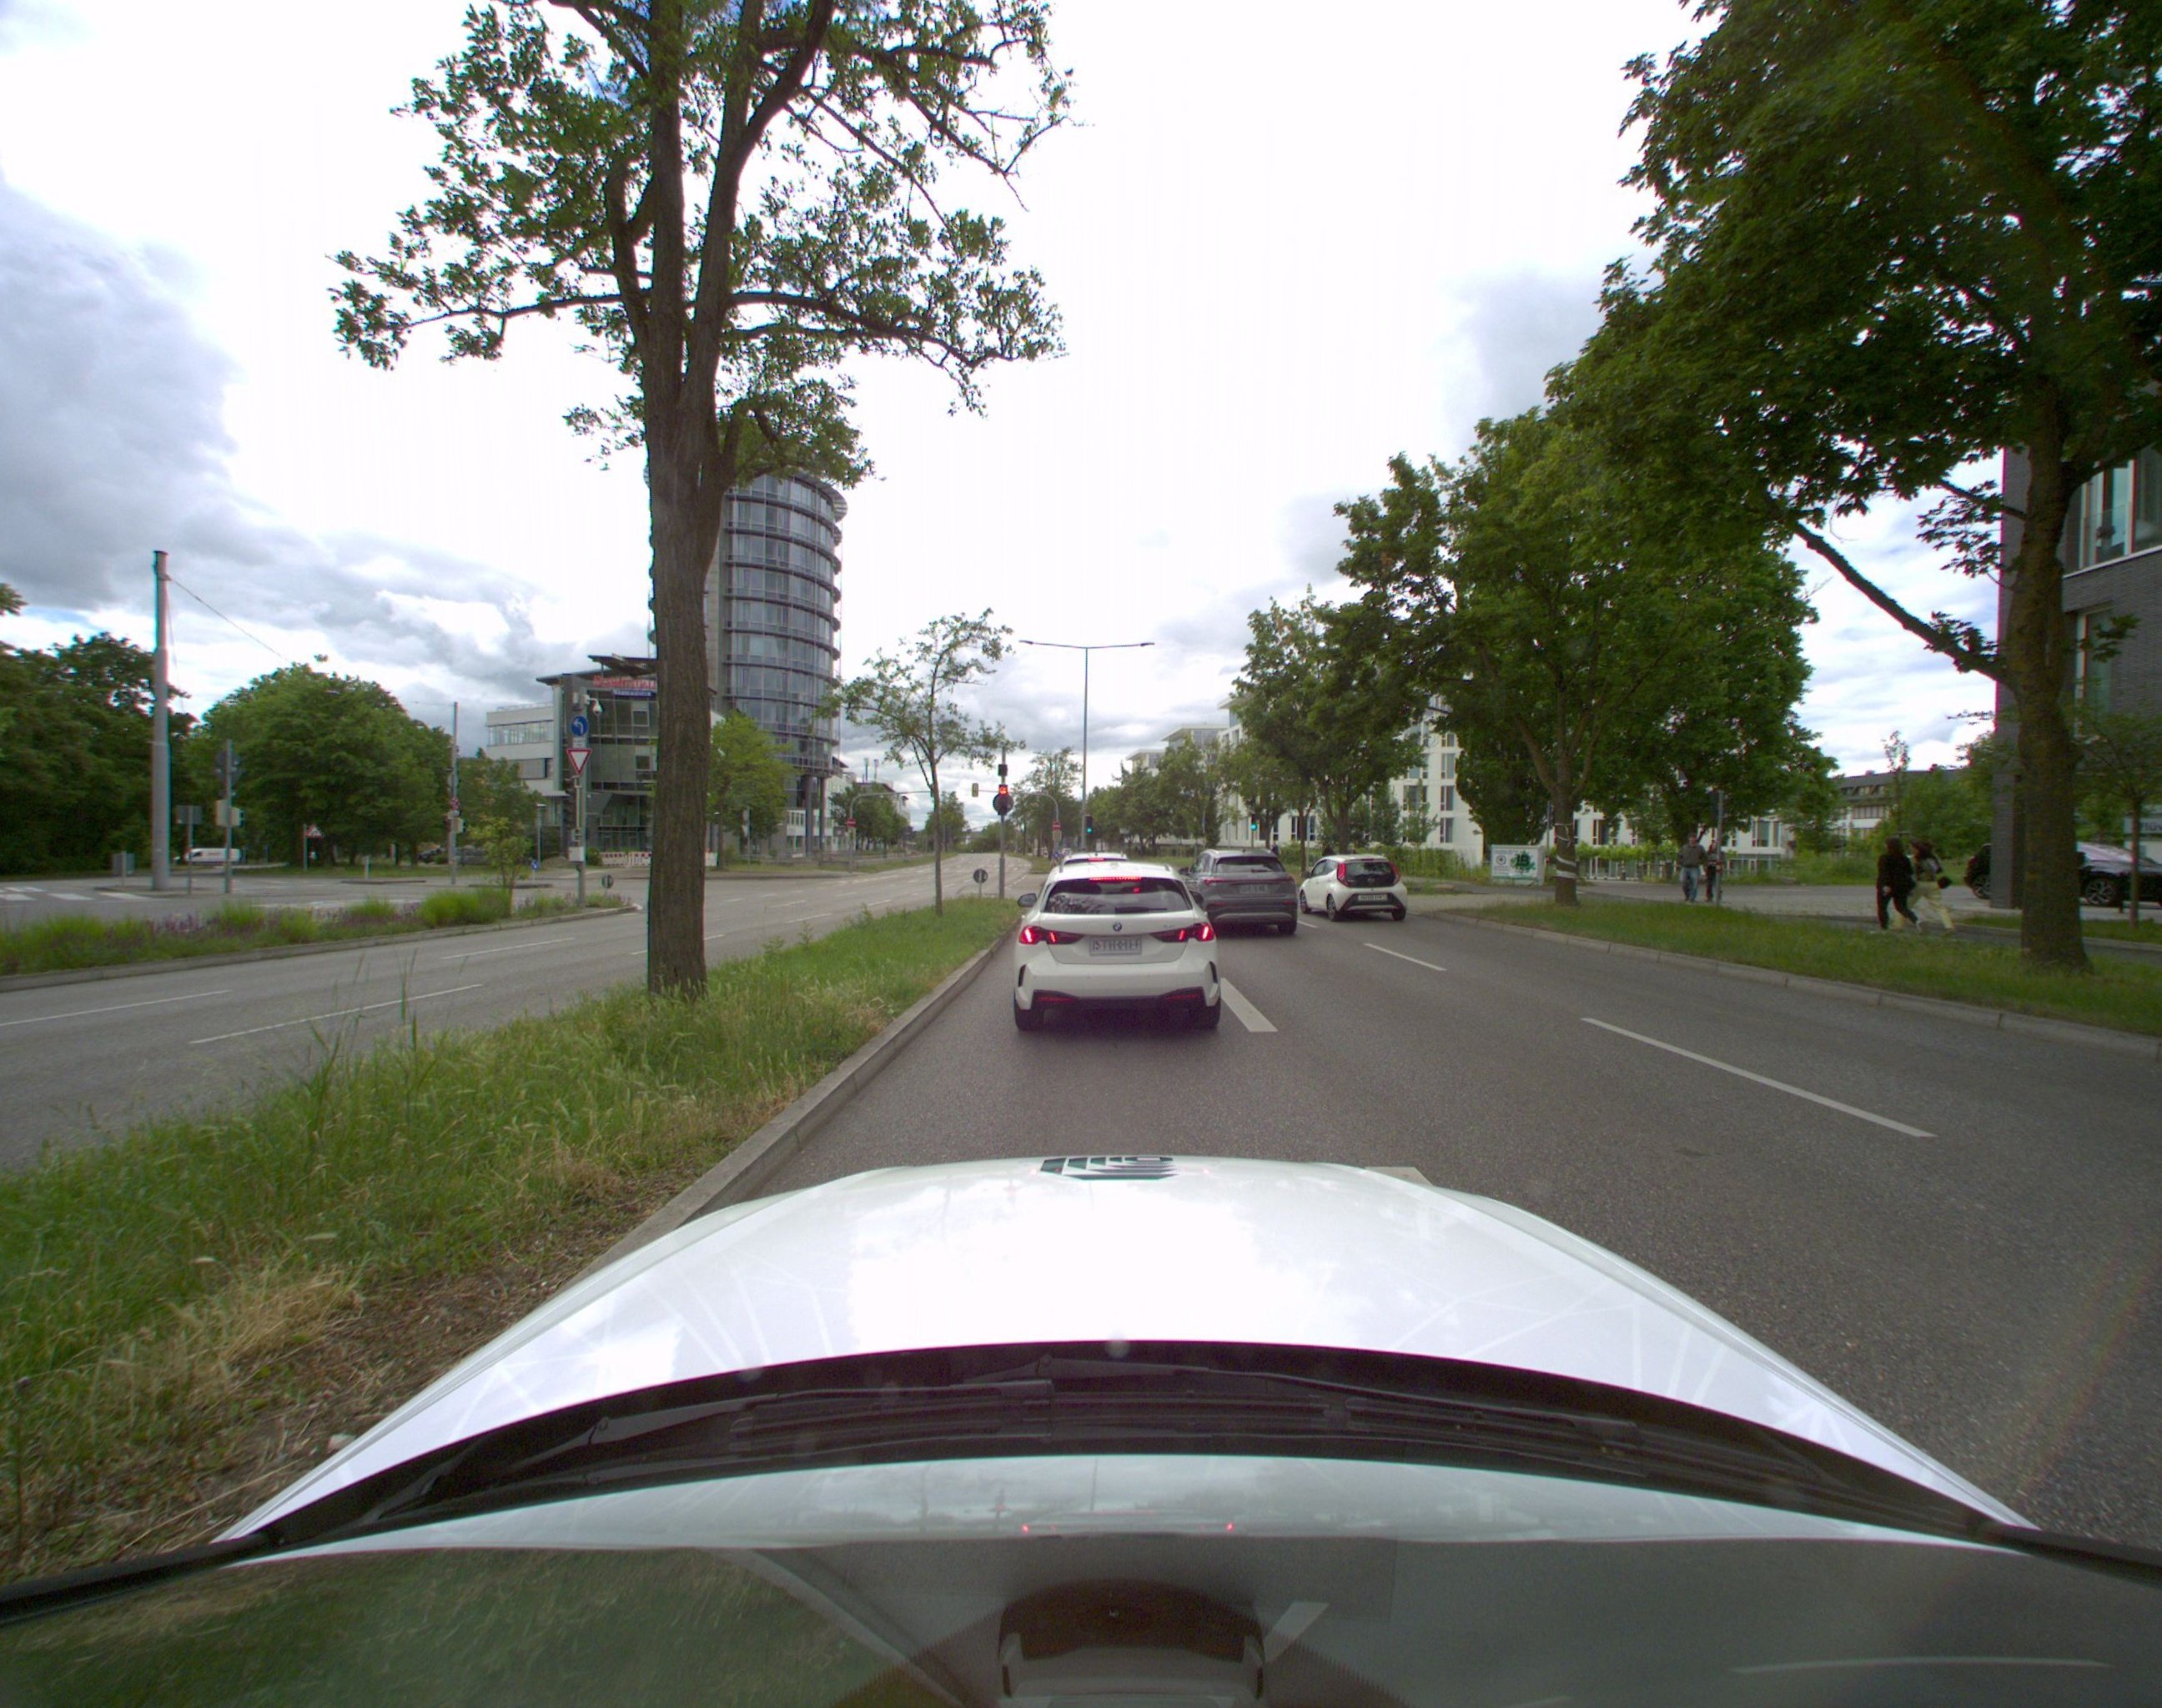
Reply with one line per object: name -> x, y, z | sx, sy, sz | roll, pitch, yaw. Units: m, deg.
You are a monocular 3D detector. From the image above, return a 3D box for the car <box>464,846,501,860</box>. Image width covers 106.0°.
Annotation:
car -> -37.363, -0.063, 50.882 | 0.766, 0.876, 1.730 | 0, 0, 38

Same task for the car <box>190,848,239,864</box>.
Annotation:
car -> -128.866, 0.255, 121.202 | 1.978, 2.339, 4.570 | -1, -1, 16

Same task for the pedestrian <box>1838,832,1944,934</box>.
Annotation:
pedestrian -> 13.709, 0.466, 13.817 | 0.791, 1.660, 1.061 | 0, 0, 7

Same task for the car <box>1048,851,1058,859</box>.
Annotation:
car -> -5.554, 0.166, 160.357 | 1.690, 1.486, 3.685 | 0, 0, -6

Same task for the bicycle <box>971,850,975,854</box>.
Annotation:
bicycle -> -33.939, -0.626, 256.025 | 0.809, 1.104, 2.553 | 0, -1, -4

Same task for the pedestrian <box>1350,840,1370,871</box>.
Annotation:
pedestrian -> 14.887, 0.083, 43.500 | 0.764, 1.685, 0.883 | 0, -1, 1

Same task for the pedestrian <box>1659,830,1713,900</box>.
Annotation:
pedestrian -> 16.561, 0.293, 22.290 | 0.983, 1.868, 0.952 | 0, 0, -38

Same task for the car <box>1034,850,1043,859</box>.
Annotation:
car -> -8.273, 0.052, 157.102 | 1.692, 1.717, 3.993 | 0, -1, -4

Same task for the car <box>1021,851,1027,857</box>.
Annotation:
car -> -16.344, -0.074, 233.360 | 1.597, 1.666, 3.997 | 0, 0, -2

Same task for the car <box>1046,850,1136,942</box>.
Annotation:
car -> 0.235, 0.711, 15.856 | 1.544, 1.569, 4.002 | 0, 0, 2

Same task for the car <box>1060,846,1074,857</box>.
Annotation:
car -> -2.266, -0.434, 131.875 | 1.991, 1.670, 3.992 | -2, 0, -5

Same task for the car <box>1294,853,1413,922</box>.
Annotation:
car -> 6.207, 0.694, 18.926 | 1.647, 1.425, 3.537 | -1, 0, 2

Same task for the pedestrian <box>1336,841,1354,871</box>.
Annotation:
pedestrian -> 14.107, 0.089, 43.527 | 0.697, 1.595, 0.883 | 0, -1, 1

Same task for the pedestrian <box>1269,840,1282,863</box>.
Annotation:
pedestrian -> 13.188, -0.148, 55.203 | 0.739, 1.574, 0.674 | 0, -1, 0

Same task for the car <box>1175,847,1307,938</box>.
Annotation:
car -> 3.042, 0.667, 16.380 | 1.885, 1.596, 4.314 | 0, 0, 1

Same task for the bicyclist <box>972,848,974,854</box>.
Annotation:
bicyclist -> -33.949, -0.980, 256.094 | 0.809, 1.653, 1.187 | 0, -1, -4

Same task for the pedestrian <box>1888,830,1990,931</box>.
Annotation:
pedestrian -> 14.493, 0.431, 13.785 | 0.774, 1.660, 0.954 | 0, 0, 7

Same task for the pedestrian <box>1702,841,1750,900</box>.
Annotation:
pedestrian -> 17.403, 0.427, 21.968 | 0.880, 1.557, 0.825 | 0, 0, -38

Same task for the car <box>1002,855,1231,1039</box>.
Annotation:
car -> 0.344, 0.739, 8.448 | 1.815, 1.438, 4.002 | 0, 0, 2

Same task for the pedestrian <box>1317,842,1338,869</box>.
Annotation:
pedestrian -> 13.285, 0.098, 43.917 | 0.786, 1.448, 1.112 | 0, -1, 1

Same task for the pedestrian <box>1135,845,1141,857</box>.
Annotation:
pedestrian -> 9.442, -0.548, 134.144 | 0.763, 2.014, 0.751 | 0, -1, -13

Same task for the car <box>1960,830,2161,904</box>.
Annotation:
car -> 24.889, 0.295, 20.220 | 1.749, 1.646, 4.151 | 0, 0, 2

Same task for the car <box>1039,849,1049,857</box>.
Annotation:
car -> -8.393, -0.239, 184.750 | 1.992, 1.732, 3.990 | 0, -1, -7
